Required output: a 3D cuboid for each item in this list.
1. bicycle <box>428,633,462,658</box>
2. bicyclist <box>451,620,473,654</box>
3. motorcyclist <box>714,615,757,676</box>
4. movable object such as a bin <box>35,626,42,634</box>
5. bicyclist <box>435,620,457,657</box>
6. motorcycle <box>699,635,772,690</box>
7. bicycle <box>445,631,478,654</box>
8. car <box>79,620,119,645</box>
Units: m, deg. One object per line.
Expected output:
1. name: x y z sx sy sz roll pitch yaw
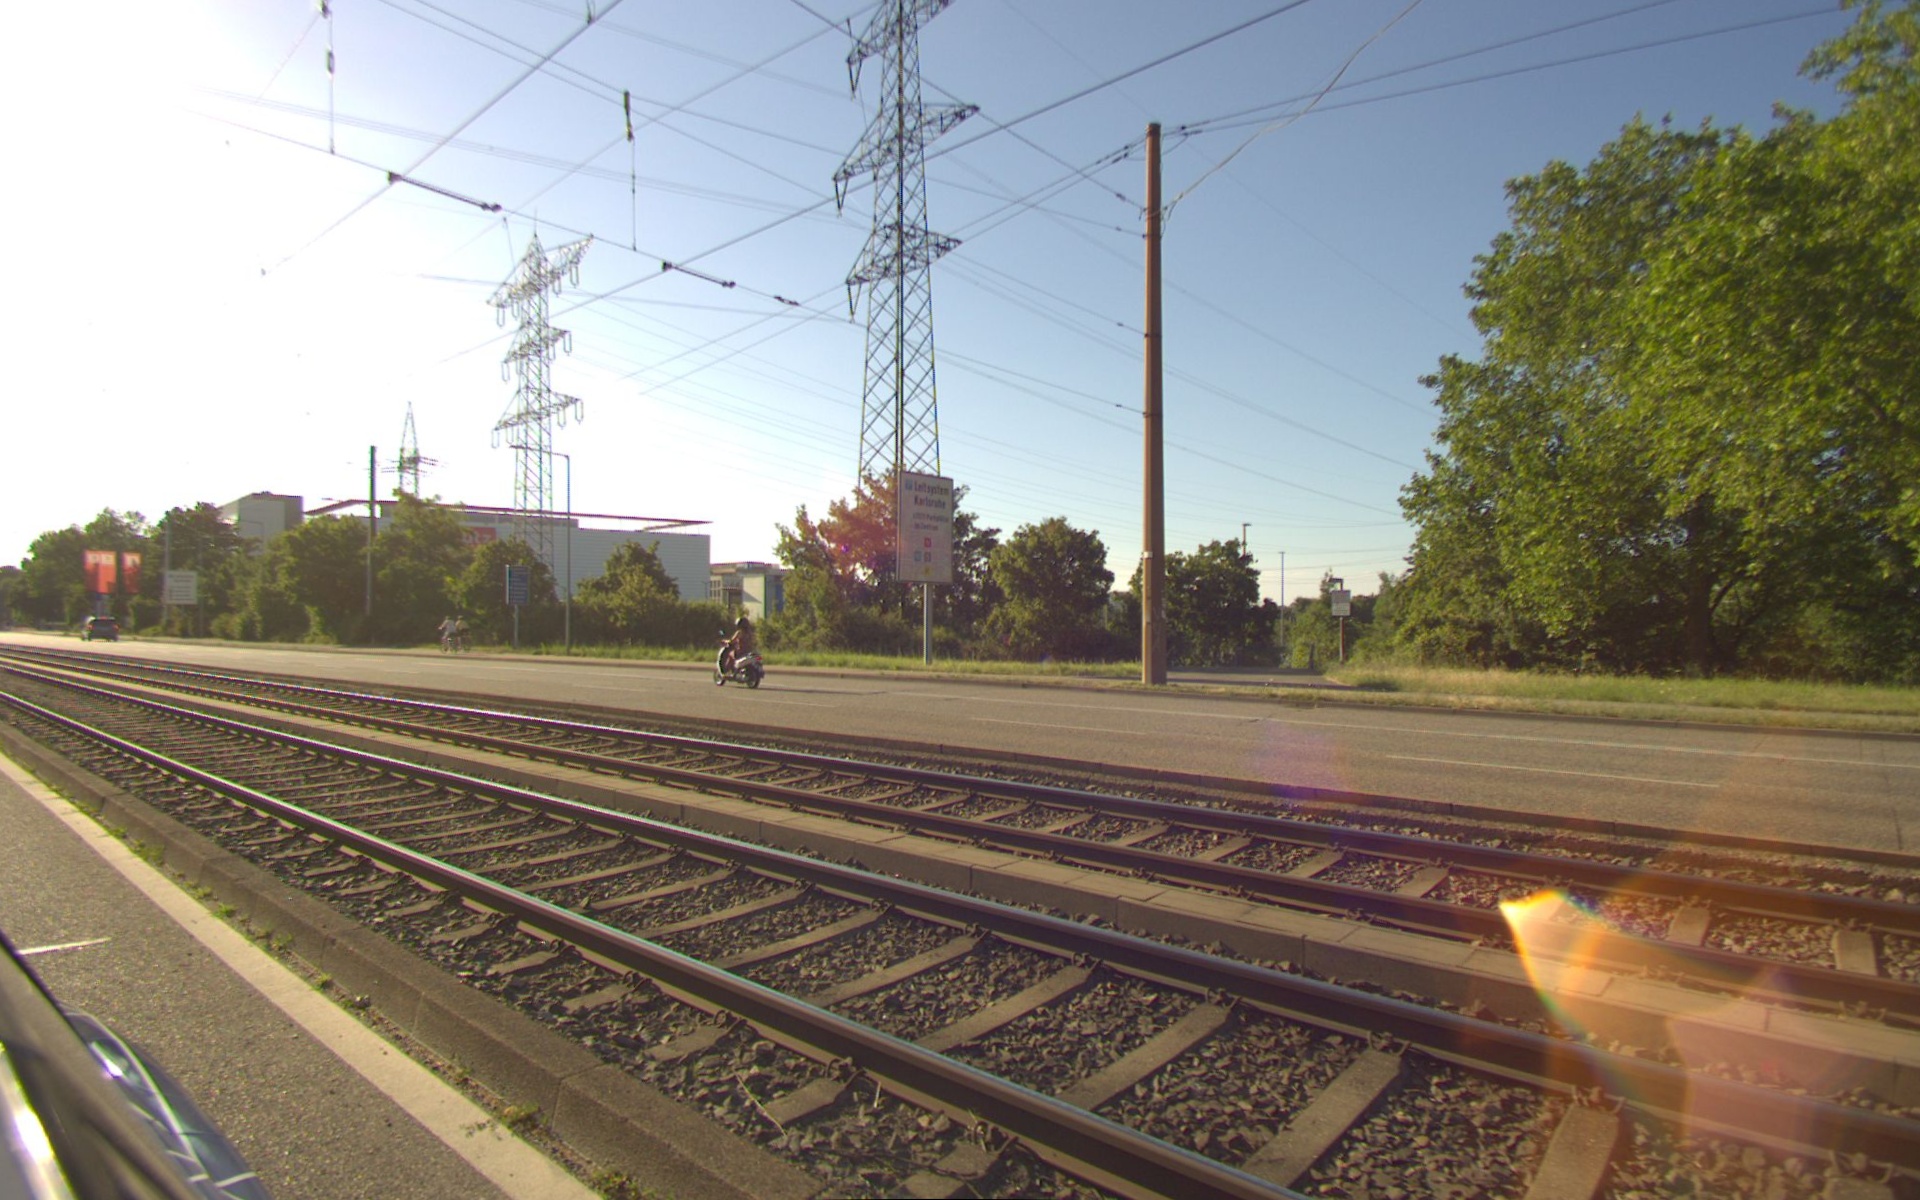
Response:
1. bicycle: -23.104 2.033 45.373 2.184 1.029 0.584 -1 -1 41
2. bicyclist: -23.140 1.711 47.042 0.905 1.539 0.584 -1 -1 41
3. motorcyclist: -4.912 0.986 22.164 0.804 1.280 0.530 -1 1 41
4. movable object such as a bin: -123.950 4.020 136.158 1.083 0.973 0.606 -1 1 42
5. bicyclist: -23.005 1.717 45.294 0.966 1.623 0.584 -1 -1 41
6. motorcycle: -4.936 1.355 22.198 1.901 1.099 0.530 -1 1 41
7. bicycle: -23.203 1.971 47.096 2.184 1.029 0.584 -1 -1 41
8. car: -71.172 2.708 83.650 4.860 1.937 1.972 -4 -3 43
